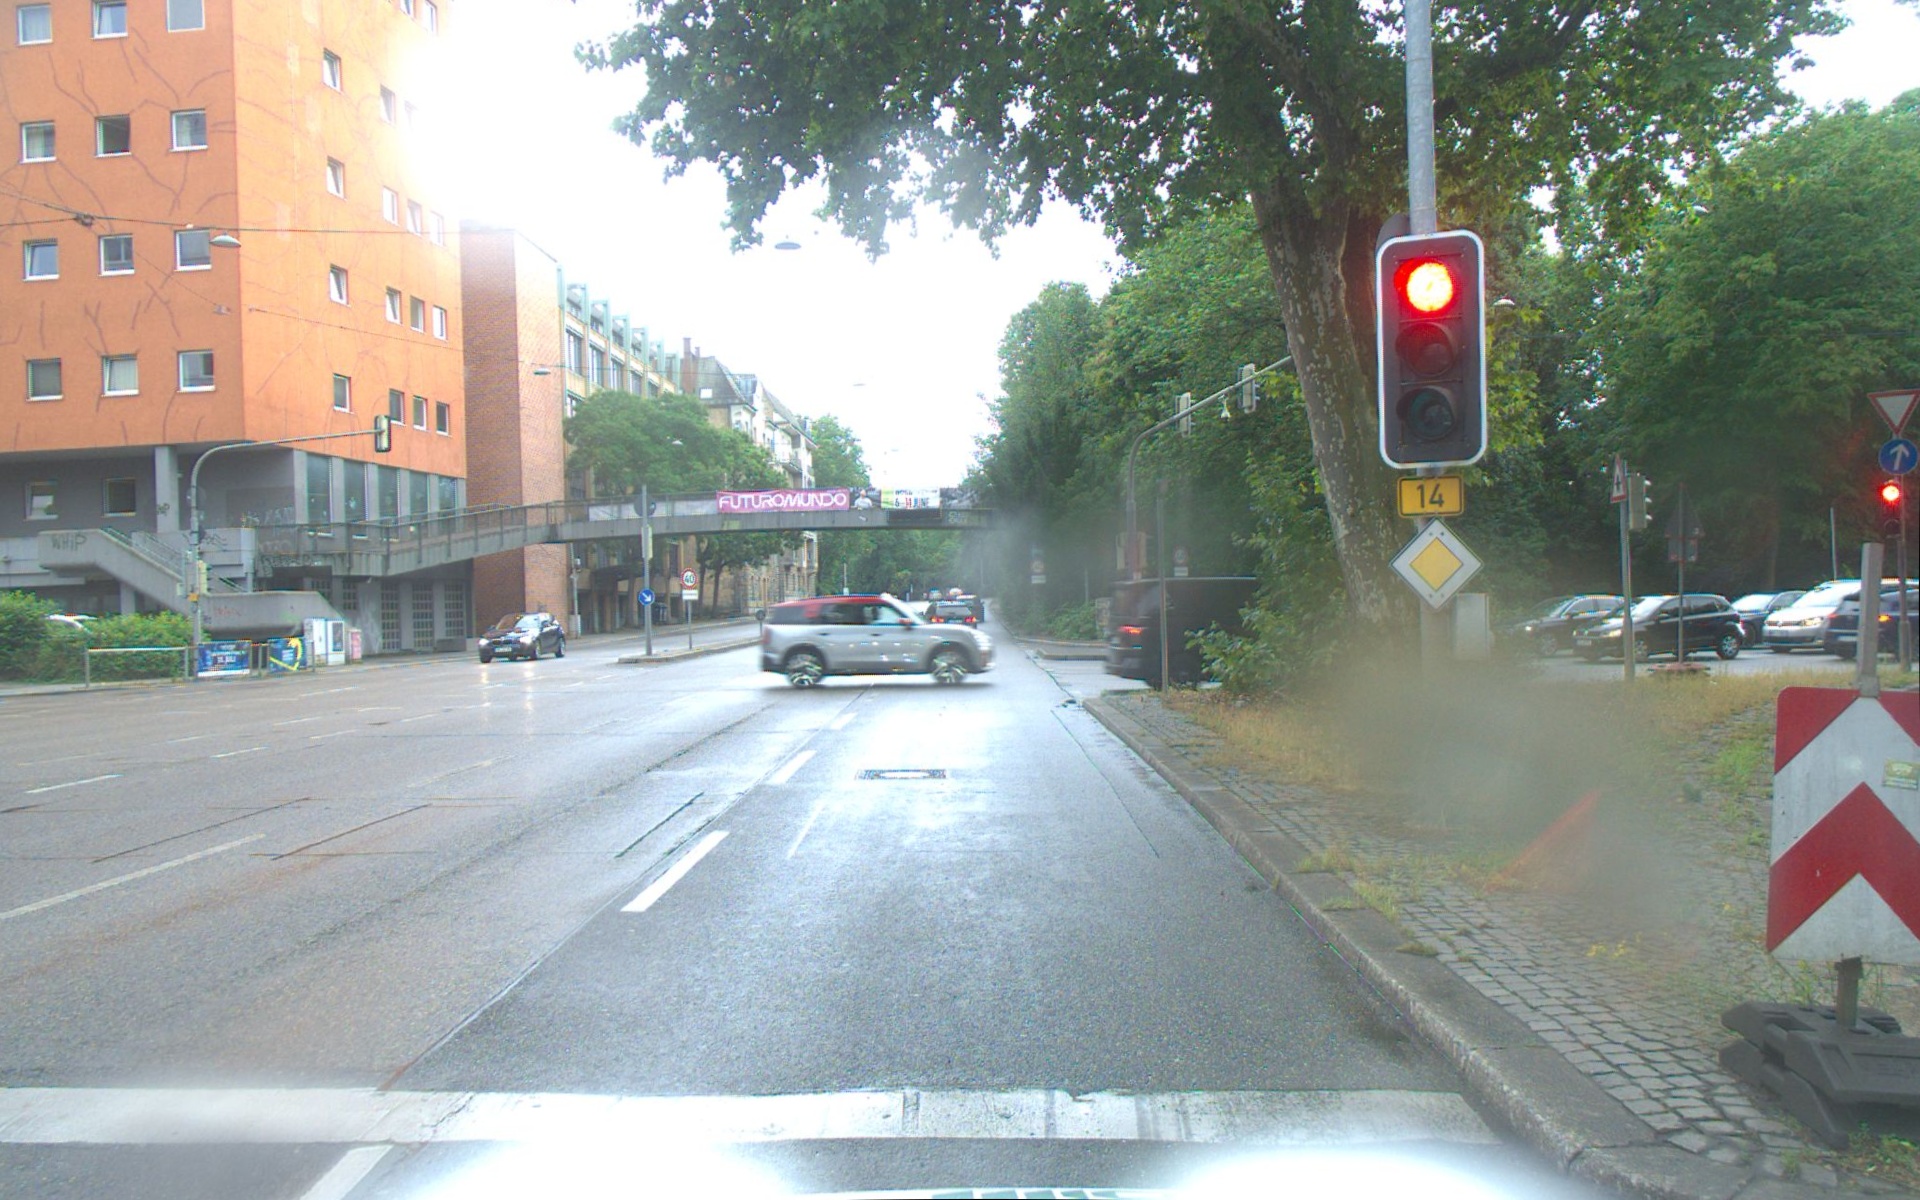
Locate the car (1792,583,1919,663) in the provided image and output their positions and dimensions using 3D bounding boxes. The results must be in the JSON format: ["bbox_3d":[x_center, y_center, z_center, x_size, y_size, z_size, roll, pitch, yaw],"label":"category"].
[{"bbox_3d":[19.634,0.419,34.344,4.062,1.471,1.581,-3,0,-11],"label":"car"}]

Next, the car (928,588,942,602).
[{"bbox_3d":[-3.290,-0.611,217.101,1.728,1.726,3.705,-3,0,-1],"label":"car"}]

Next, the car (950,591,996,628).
[{"bbox_3d":[0.694,0.539,91.872,2.088,1.868,4.348,-3,0,-5],"label":"car"}]

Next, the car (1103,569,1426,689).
[{"bbox_3d":[5.030,0.467,27.765,4.976,1.878,1.998,-1,0,-5],"label":"car"}]

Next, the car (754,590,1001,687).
[{"bbox_3d":[-1.490,0.684,30.758,4.418,1.666,1.881,-1,0,-1],"label":"car"}]

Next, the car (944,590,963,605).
[{"bbox_3d":[-0.812,-0.329,202.017,2.078,1.765,4.196,0,1,-3],"label":"car"}]

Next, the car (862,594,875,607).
[{"bbox_3d":[-13.216,0.035,239.556,1.586,1.726,3.548,-3,0,-1],"label":"car"}]

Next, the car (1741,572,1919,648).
[{"bbox_3d":[20.625,0.211,38.478,4.184,1.512,1.769,-3,0,-11],"label":"car"}]

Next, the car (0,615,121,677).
[{"bbox_3d":[-27.303,1.390,49.008,3.929,1.646,1.896,-3,0,8],"label":"car"}]

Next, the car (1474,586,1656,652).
[{"bbox_3d":[14.742,0.454,40.320,3.929,1.512,1.867,-1,-1,-21],"label":"car"}]

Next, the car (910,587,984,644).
[{"bbox_3d":[-0.523,0.548,59.878,2.089,1.868,4.345,-3,0,-8],"label":"car"}]

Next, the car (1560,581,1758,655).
[{"bbox_3d":[15.369,0.394,36.406,3.791,1.511,1.665,-1,-1,-16],"label":"car"}]

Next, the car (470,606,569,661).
[{"bbox_3d":[-13.415,0.992,50.583,1.953,1.545,3.999,-2,0,0],"label":"car"}]

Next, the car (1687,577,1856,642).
[{"bbox_3d":[20.570,0.221,41.943,3.768,1.512,1.734,-1,0,-21],"label":"car"}]

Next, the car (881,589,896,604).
[{"bbox_3d":[-9.500,-0.478,220.722,1.728,1.959,3.705,-3,0,-1],"label":"car"}]
